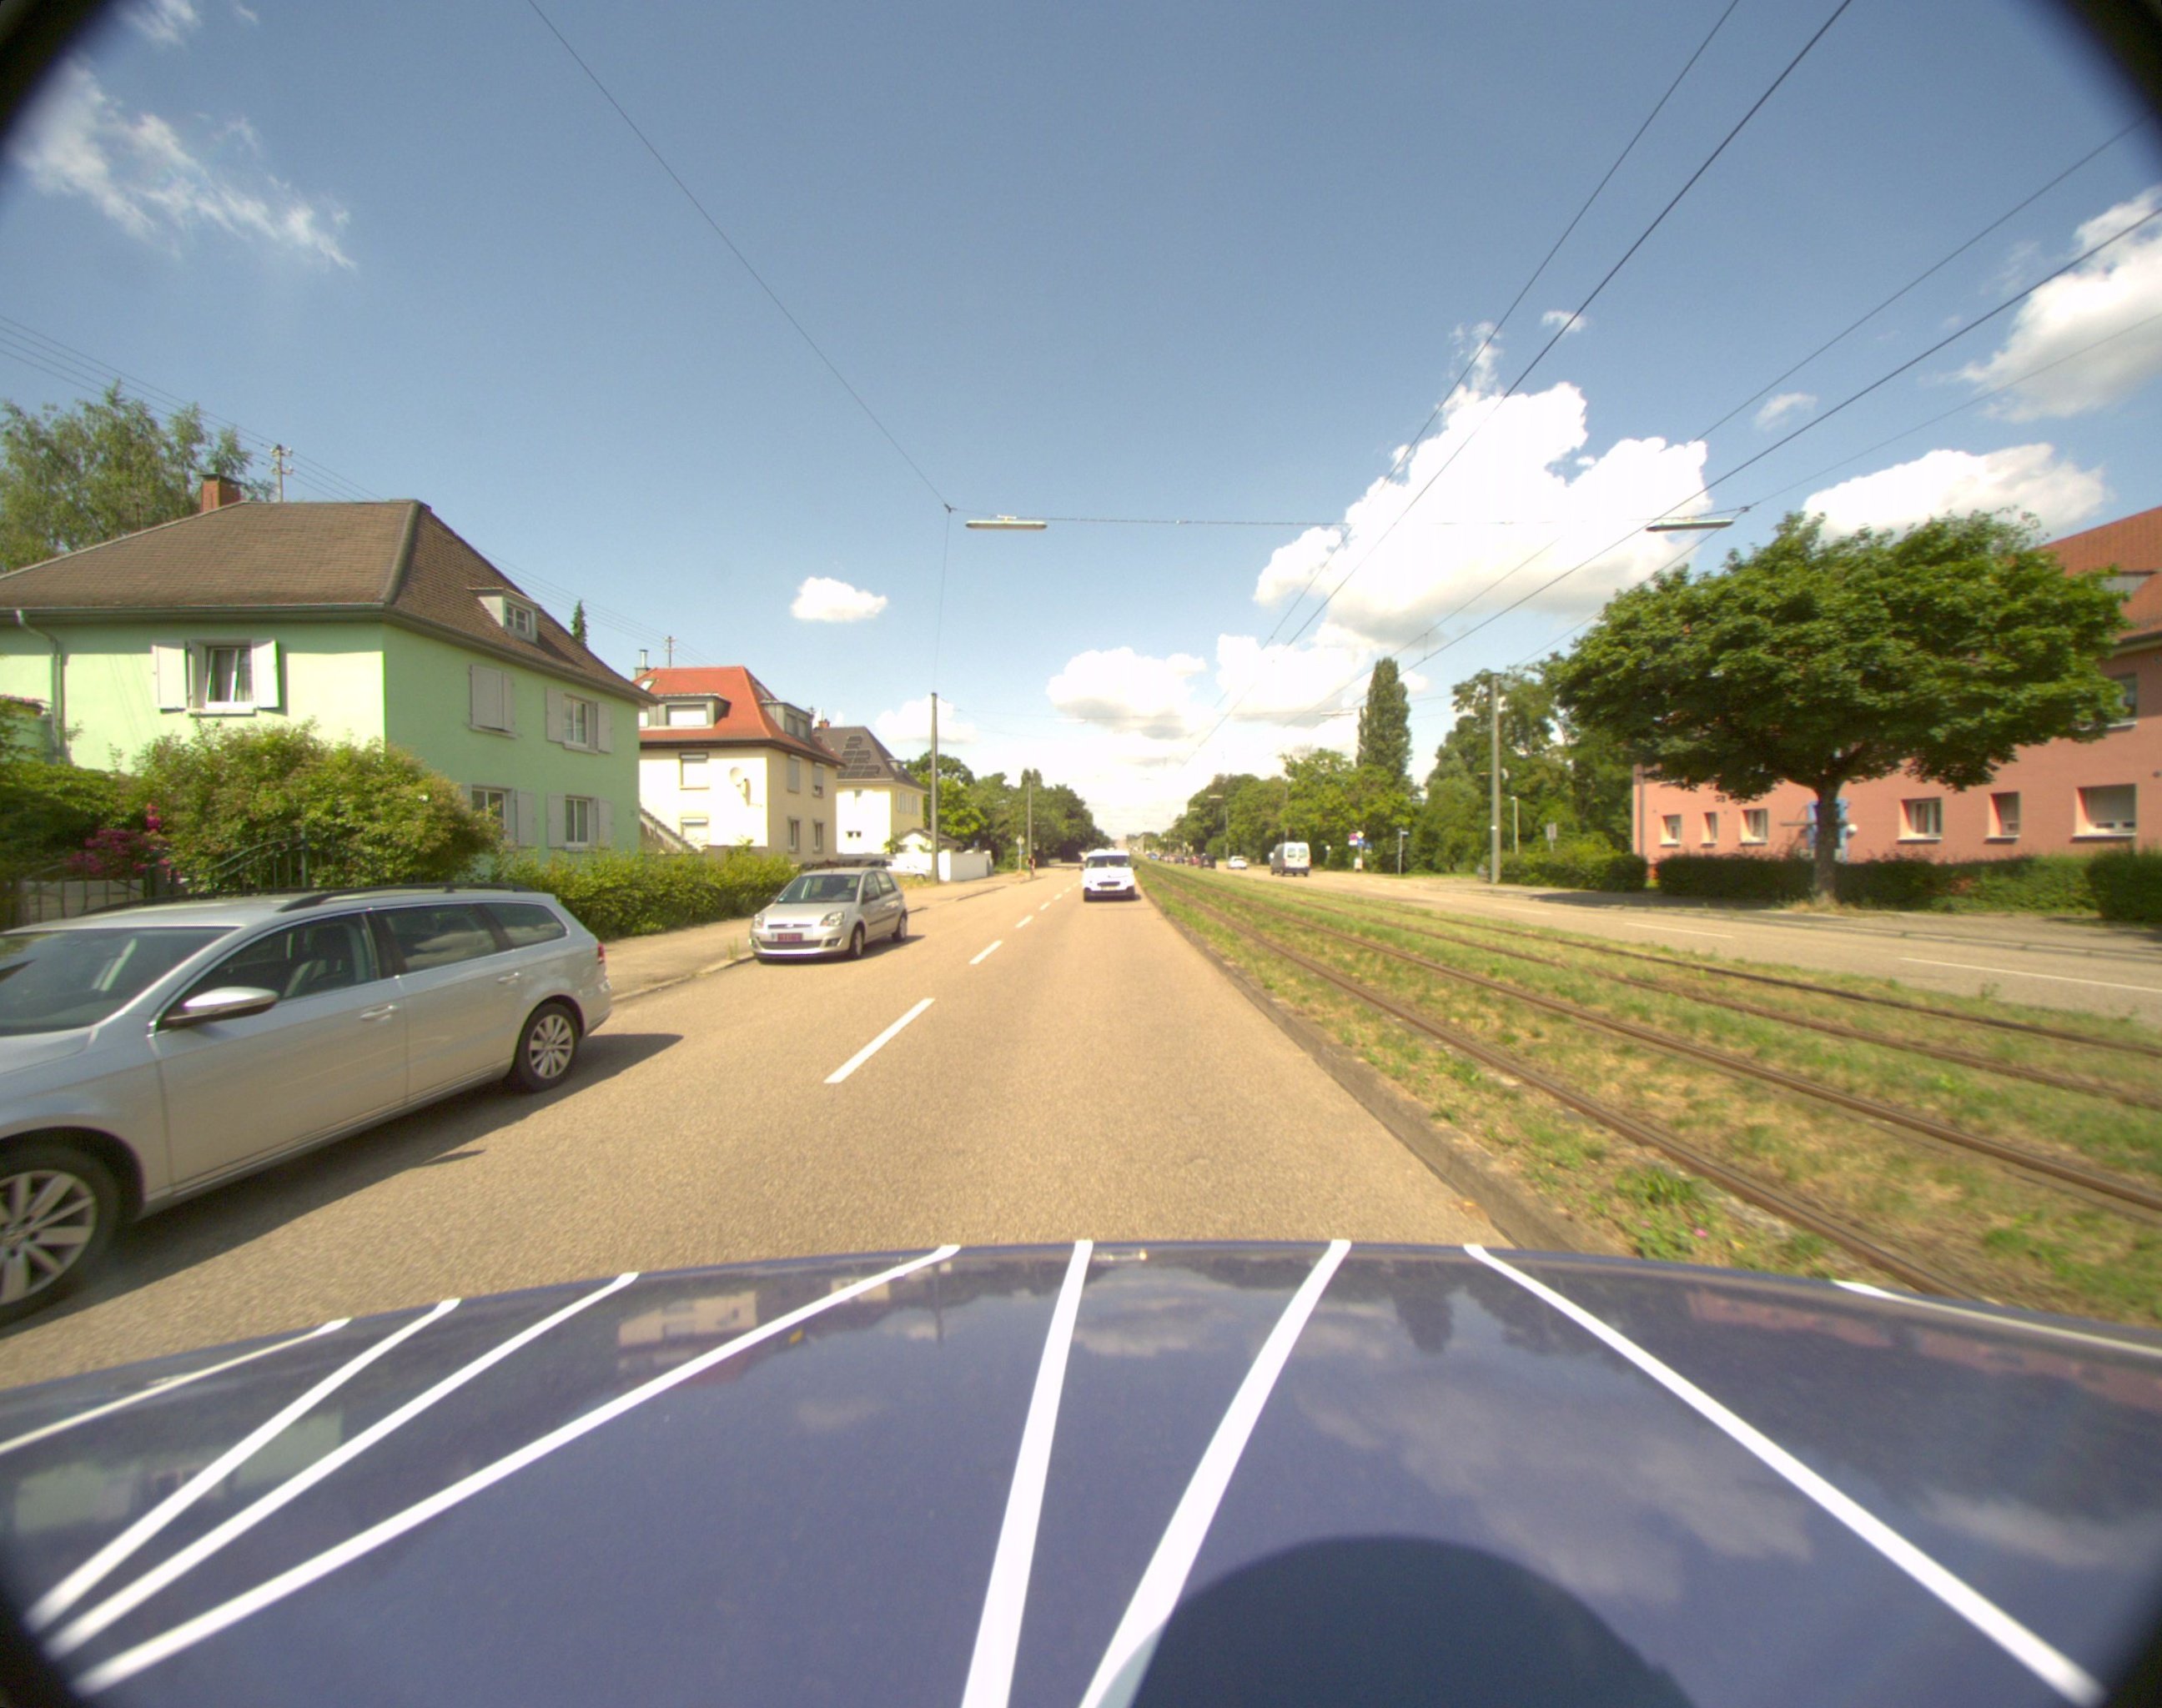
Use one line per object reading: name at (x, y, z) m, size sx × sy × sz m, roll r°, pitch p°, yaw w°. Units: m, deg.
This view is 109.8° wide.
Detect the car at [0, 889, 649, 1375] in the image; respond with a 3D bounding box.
car at (-4.688, 1.087, 3.999) m, size 1.895 × 1.447 × 5.005 m, roll -2°, pitch 1°, yaw 0°

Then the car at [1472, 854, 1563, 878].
car at (26.874, 0.711, 46.906) m, size 4.465 × 1.397 × 2.001 m, roll -1°, pitch 0°, yaw 10°

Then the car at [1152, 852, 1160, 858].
car at (22.502, 0.360, 227.875) m, size 2.120 × 1.642 × 4.277 m, roll -1°, pitch 0°, yaw 4°

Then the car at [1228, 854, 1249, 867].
car at (17.809, 0.711, 86.091) m, size 1.689 × 1.422 × 4.277 m, roll -1°, pitch 0°, yaw 3°

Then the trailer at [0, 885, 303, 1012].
trailer at (-12.448, 1.084, 9.274) m, size 4.257 × 1.319 × 1.674 m, roll 0°, pitch 0°, yaw 2°

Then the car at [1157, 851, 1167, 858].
car at (18.945, 0.117, 178.522) m, size 2.120 × 1.642 × 4.277 m, roll -1°, pitch 0°, yaw 4°

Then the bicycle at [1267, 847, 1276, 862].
bicycle at (21.216, 0.080, 84.452) m, size 0.801 × 1.675 × 0.952 m, roll -1°, pitch 1°, yaw 3°

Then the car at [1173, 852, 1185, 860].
car at (16.450, 0.293, 127.341) m, size 1.731 × 1.386 × 4.277 m, roll -1°, pitch 0°, yaw 4°

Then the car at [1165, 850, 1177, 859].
car at (17.245, 0.060, 145.625) m, size 2.120 × 1.642 × 4.277 m, roll -1°, pitch 0°, yaw 4°

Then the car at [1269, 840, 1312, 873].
car at (15.994, 0.173, 58.370) m, size 2.036 × 2.422 × 5.779 m, roll 1°, pitch 0°, yaw 4°

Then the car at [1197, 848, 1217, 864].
car at (14.510, 0.221, 87.738) m, size 1.689 × 1.736 × 4.228 m, roll -1°, pitch 0°, yaw 3°

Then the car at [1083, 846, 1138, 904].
car at (1.020, 0.694, 27.571) m, size 1.777 × 1.850 × 4.375 m, roll -2°, pitch 0°, yaw 1°

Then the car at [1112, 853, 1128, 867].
car at (5.177, 0.786, 100.837) m, size 1.998 × 1.576 × 4.000 m, roll -2°, pitch 1°, yaw 3°

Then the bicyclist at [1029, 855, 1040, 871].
bicyclist at (-3.758, 0.721, 61.302) m, size 0.690 × 1.345 × 0.665 m, roll 0°, pitch 1°, yaw 9°

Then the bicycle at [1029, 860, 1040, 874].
bicycle at (-3.751, 1.043, 61.234) m, size 0.556 × 1.059 × 1.524 m, roll 0°, pitch 0°, yaw 9°

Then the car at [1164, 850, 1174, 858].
car at (18.798, 0.012, 161.817) m, size 1.921 × 1.642 × 4.277 m, roll -1°, pitch 0°, yaw 4°

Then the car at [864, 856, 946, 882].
car at (-10.616, 0.879, 45.974) m, size 4.459 × 1.452 × 1.764 m, roll 1°, pitch 0°, yaw 3°

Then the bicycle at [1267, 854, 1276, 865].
bicycle at (21.212, 0.647, 84.486) m, size 0.642 × 1.181 × 1.957 m, roll -1°, pitch 0°, yaw 4°

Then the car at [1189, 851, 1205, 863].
car at (16.619, 0.408, 108.831) m, size 1.731 × 1.569 × 4.277 m, roll -1°, pitch 0°, yaw 1°

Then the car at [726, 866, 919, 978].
car at (-4.283, 1.053, 13.329) m, size 1.741 × 1.481 × 4.094 m, roll -2°, pitch 1°, yaw 3°

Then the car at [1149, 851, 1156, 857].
car at (24.183, -0.022, 256.184) m, size 1.998 × 2.002 × 4.000 m, roll -2°, pitch 1°, yaw 1°
